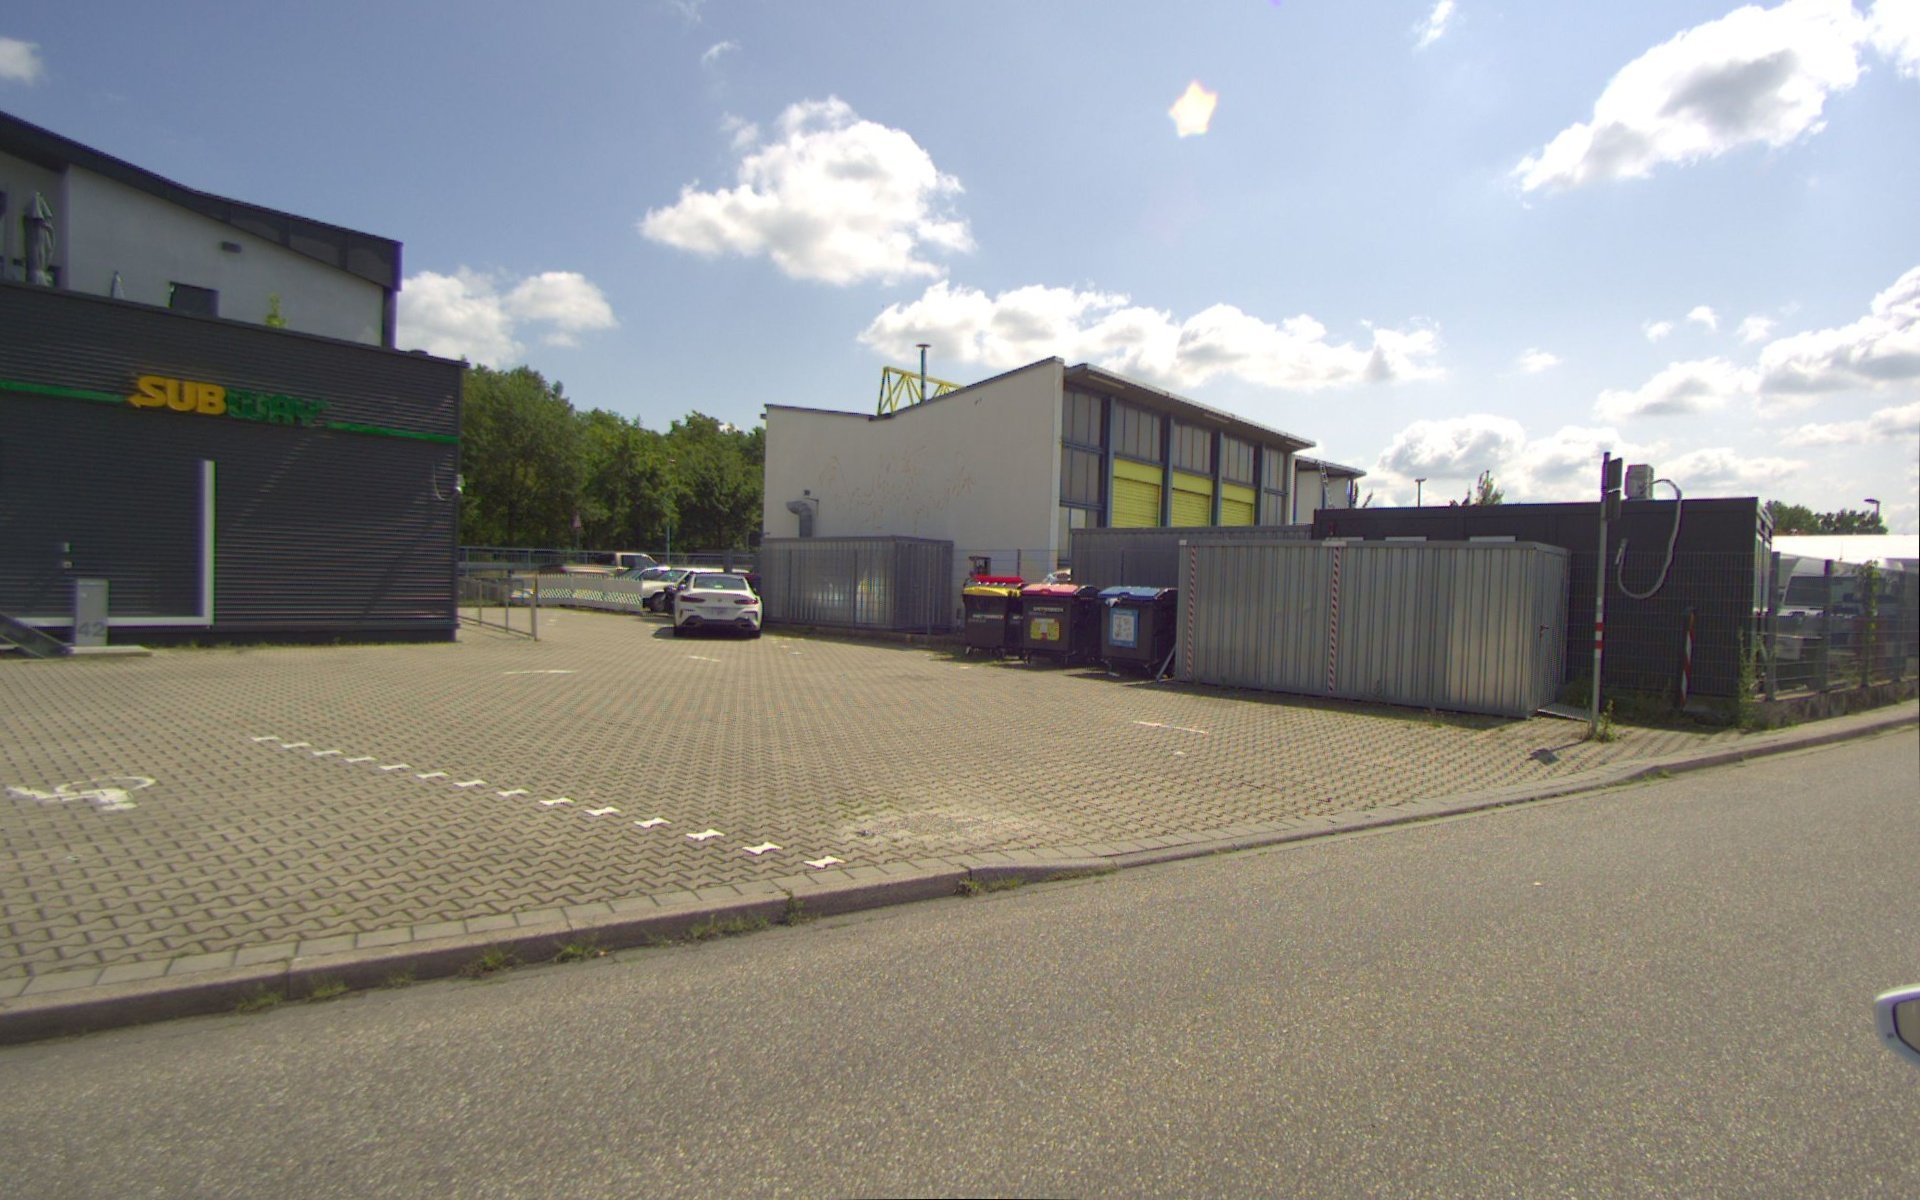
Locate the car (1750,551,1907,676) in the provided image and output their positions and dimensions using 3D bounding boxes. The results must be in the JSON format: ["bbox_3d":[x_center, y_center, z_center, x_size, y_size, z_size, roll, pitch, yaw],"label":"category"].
[{"bbox_3d":[20.617,0.285,23.703,6.669,2.571,2.099,0,1,-43],"label":"car"}]

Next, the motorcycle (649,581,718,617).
[{"bbox_3d":[-8.354,-0.031,30.399,0.556,1.052,2.035,3,2,40],"label":"motorcycle"}]

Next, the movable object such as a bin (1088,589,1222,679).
[{"bbox_3d":[3.347,0.545,17.105,1.356,1.408,2.192,2,0,40],"label":"movable object such as a bin"}]

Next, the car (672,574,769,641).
[{"bbox_3d":[-5.624,0.124,23.266,1.907,1.332,4.020,2,1,-17],"label":"car"}]

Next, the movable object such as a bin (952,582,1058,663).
[{"bbox_3d":[0.892,0.411,19.274,1.097,1.408,2.021,4,2,34],"label":"movable object such as a bin"}]

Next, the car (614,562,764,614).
[{"bbox_3d":[-8.894,-0.353,33.247,1.970,1.604,4.487,2,0,41],"label":"car"}]

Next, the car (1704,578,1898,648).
[{"bbox_3d":[26.673,0.374,32.114,4.492,2.054,2.053,1,0,34],"label":"car"}]

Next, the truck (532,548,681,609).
[{"bbox_3d":[-12.825,-0.744,36.719,1.930,2.040,4.815,2,0,41],"label":"truck"}]

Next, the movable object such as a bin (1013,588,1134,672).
[{"bbox_3d":[2.118,0.526,18.449,1.180,1.408,2.192,3,1,39],"label":"movable object such as a bin"}]
